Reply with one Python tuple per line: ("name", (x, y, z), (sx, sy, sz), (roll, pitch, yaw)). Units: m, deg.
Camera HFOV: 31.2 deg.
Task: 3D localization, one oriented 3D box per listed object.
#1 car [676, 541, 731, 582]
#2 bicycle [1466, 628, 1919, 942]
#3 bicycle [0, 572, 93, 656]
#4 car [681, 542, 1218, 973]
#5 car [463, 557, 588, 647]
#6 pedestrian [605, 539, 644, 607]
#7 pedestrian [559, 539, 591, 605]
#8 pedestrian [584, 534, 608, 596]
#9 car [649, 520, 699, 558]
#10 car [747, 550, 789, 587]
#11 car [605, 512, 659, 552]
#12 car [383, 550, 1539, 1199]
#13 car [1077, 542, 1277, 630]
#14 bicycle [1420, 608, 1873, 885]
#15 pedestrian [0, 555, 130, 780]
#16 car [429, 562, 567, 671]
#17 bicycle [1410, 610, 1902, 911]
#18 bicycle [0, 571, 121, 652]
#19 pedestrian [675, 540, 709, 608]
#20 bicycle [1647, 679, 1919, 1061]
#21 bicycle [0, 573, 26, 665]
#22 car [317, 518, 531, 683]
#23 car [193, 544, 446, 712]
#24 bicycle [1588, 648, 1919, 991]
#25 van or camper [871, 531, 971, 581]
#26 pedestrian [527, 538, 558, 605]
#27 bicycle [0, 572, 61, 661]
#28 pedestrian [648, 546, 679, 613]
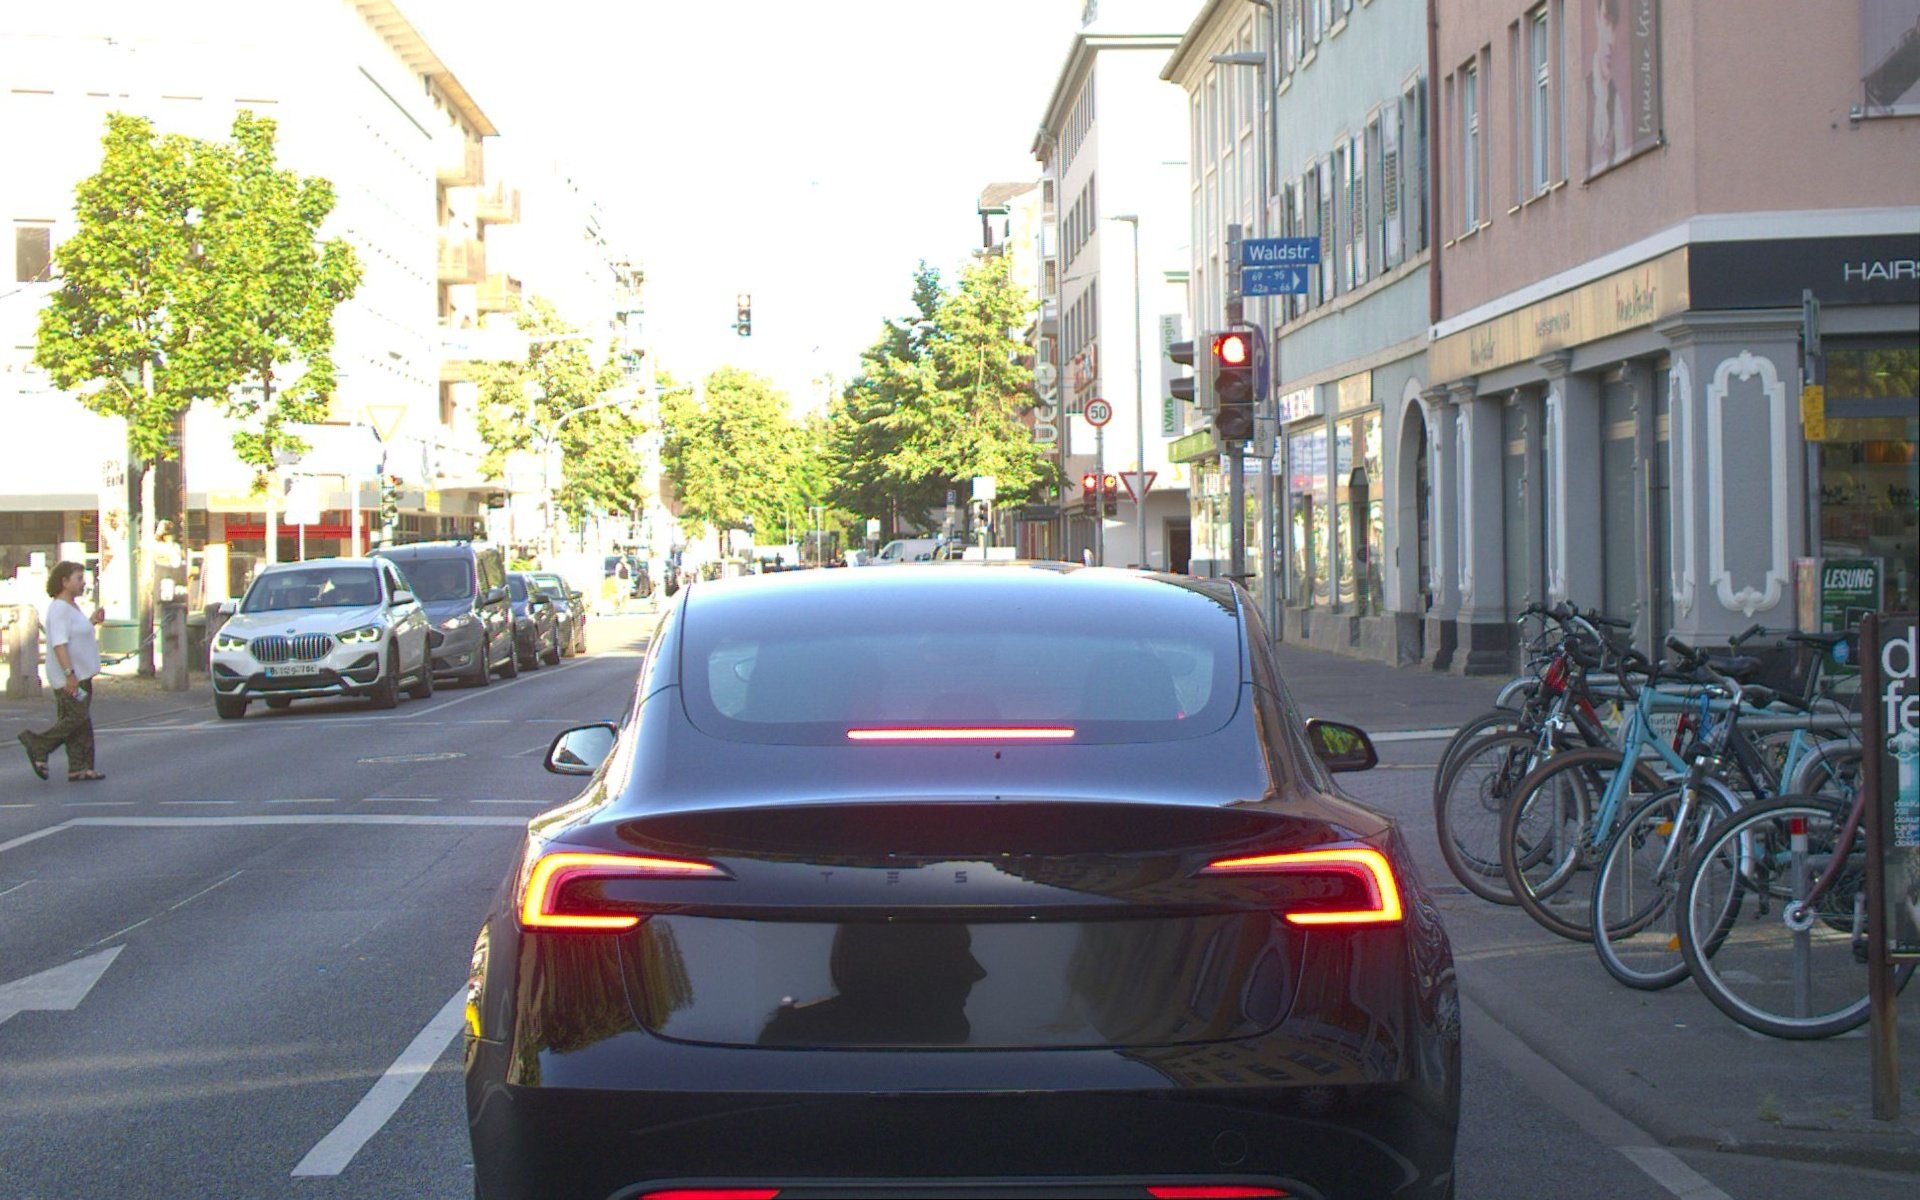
("car", (-12.399, -1.865, 166.449), (2.414, 1.963, 4.678), (0, 1, -1))
("bicycle", (2.798, 0.658, 12.527), (1.813, 1.098, 0.653), (0, 1, 1))
("bicycle", (-14.537, 0.194, 52.138), (2.542, 1.247, 0.943), (1, 0, -3))
("car", (-0.062, 0.526, 14.197), (1.850, 1.476, 4.452), (1, 1, -1))
("car", (-7.133, 0.025, 56.745), (1.693, 1.385, 3.916), (-2, 0, -2))
("pedestrian", (-9.220, -0.746, 94.557), (0.734, 1.861, 0.789), (1, 0, 28))
("pedestrian", (-10.865, -0.794, 97.032), (0.732, 1.861, 0.791), (1, 0, -17))
("pedestrian", (-11.000, -1.070, 103.877), (0.695, 1.861, 0.659), (1, 0, -5))
("car", (-15.654, -3.350, 188.279), (2.275, 2.007, 4.717), (1, 1, 1))
("car", (-10.447, -1.736, 187.132), (2.132, 1.963, 4.134), (0, 1, -1))
("car", (-17.130, -3.531, 179.640), (2.275, 2.007, 4.717), (1, 1, 1))
("car", (-0.026, 0.630, 7.772), (1.850, 1.442, 4.452), (1, 1, -1))
("car", (4.705, -0.321, 74.674), (3.992, 1.861, 1.698), (0, 1, -21))
("bicycle", (2.920, 0.614, 14.735), (1.813, 1.148, 0.653), (0, 1, 1))
("pedestrian", (-6.307, 0.458, 23.936), (0.921, 1.538, 0.695), (-1, 1, -6))
("car", (-6.657, 0.209, 49.795), (1.461, 1.425, 3.606), (-4, 1, -1))
("bicycle", (2.729, 0.622, 13.600), (1.813, 1.148, 0.653), (0, 1, 1))
("bicycle", (-14.698, 0.168, 54.563), (2.542, 1.247, 0.943), (1, 0, -3))
("pedestrian", (-7.472, -0.733, 95.688), (0.774, 1.861, 1.009), (1, 0, -13))
("bicycle", (3.024, 0.761, 10.049), (1.882, 1.040, 0.653), (-1, 1, 1))
("bicycle", (-14.490, 0.240, 47.544), (2.875, 1.266, 0.943), (1, 0, -3))
("car", (-6.576, -0.032, 42.662), (1.945, 1.940, 4.820), (0, 1, -1))
("car", (-6.690, 0.258, 36.338), (1.825, 1.559, 4.301), (-4, 1, -1))
("bicycle", (2.998, 0.694, 11.120), (1.813, 1.056, 0.653), (0, 1, 1))
("van or camper", (-1.905, -2.129, 167.547), (4.850, 2.430, 1.851), (0, 1, -1))
("pedestrian", (-11.776, -0.806, 96.974), (0.732, 1.861, 0.791), (1, 0, -17))
("bicycle", (-14.491, 0.222, 49.863), (2.662, 1.255, 0.943), (1, 0, -3))
("pedestrian", (-8.259, -0.567, 95.765), (0.694, 1.861, 0.910), (1, 0, -14))
